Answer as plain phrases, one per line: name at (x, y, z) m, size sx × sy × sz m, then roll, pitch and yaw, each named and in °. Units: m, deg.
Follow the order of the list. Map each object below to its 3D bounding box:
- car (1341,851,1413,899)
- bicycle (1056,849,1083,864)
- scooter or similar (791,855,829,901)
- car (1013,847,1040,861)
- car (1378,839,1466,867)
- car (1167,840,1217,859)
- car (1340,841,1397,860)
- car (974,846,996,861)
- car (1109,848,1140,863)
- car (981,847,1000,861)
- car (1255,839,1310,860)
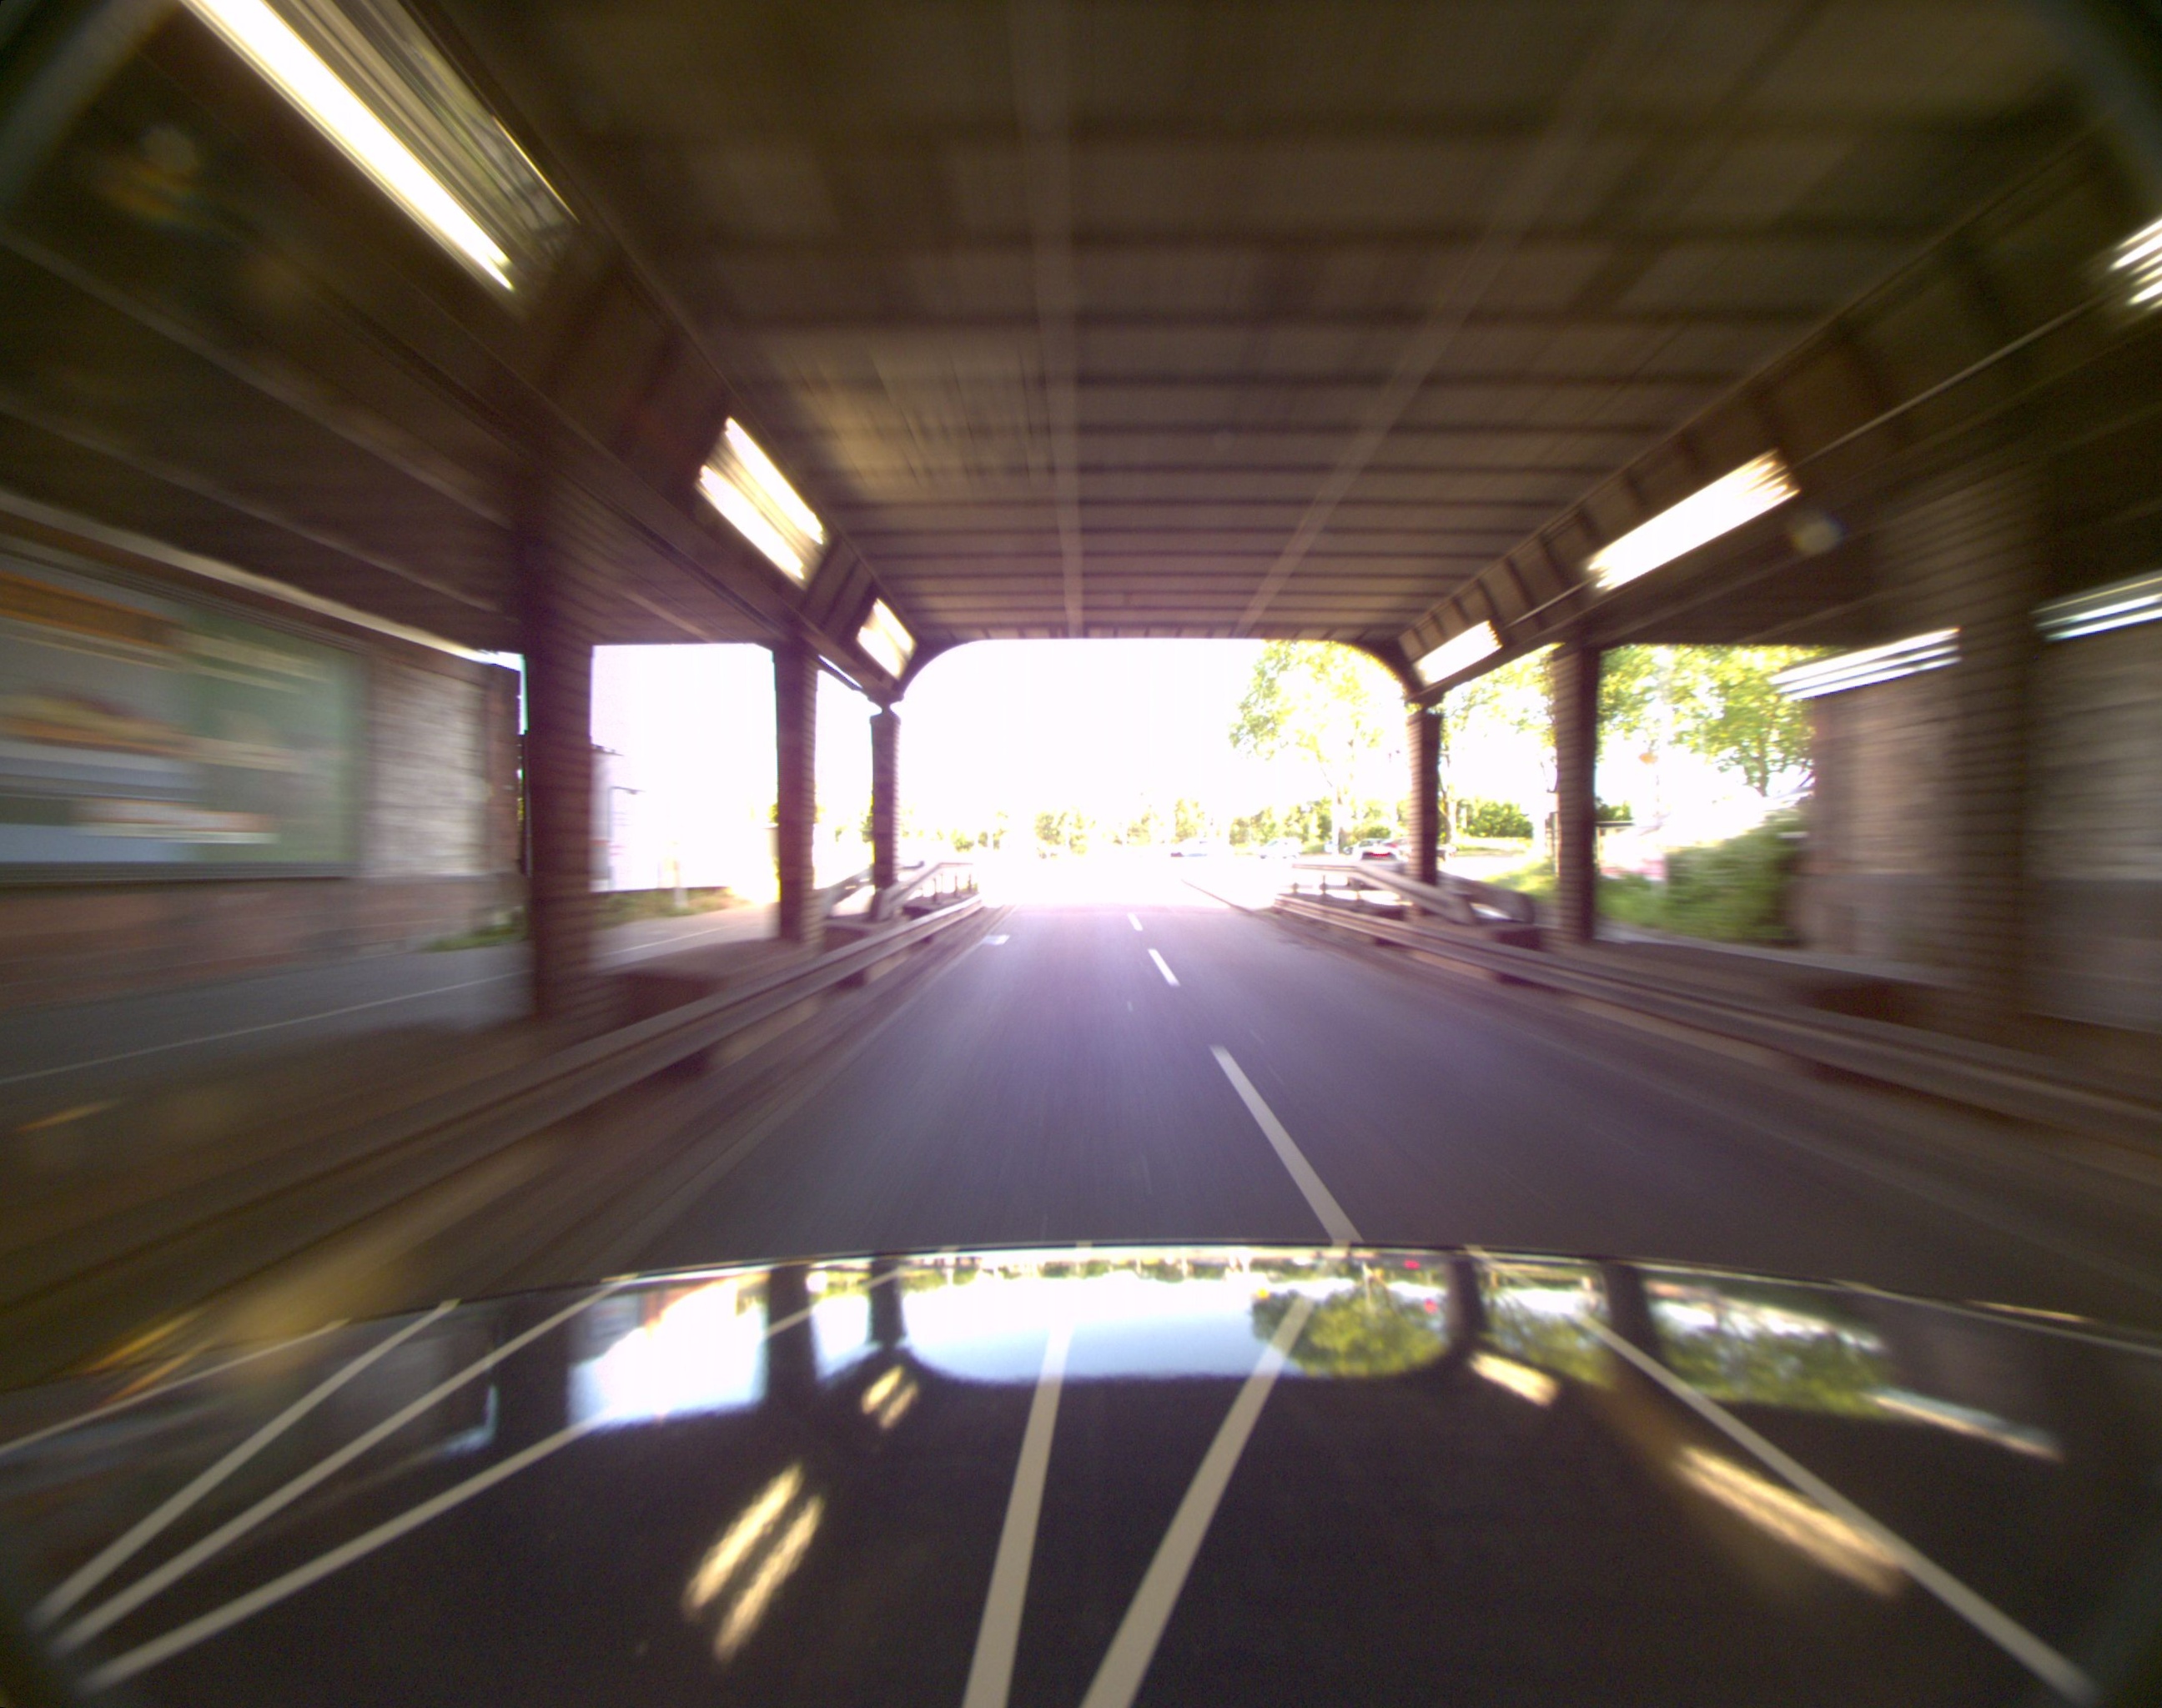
car at (10.714, 0.694, 27.834) m, size 1.953 × 1.509 × 4.391 m, roll 1°, pitch 1°, yaw 15°
bicycle at (-1.274, 0.256, 82.867) m, size 2.947 × 1.607 × 0.908 m, roll 0°, pitch 1°, yaw 34°
scooter or similar at (-7.442, 0.642, 20.941) m, size 0.538 × 1.190 × 1.291 m, roll -1°, pitch 1°, yaw 1°
car at (-7.019, -0.053, 97.882) m, size 2.180 × 1.720 × 4.483 m, roll -1°, pitch 1°, yaw -22°
car at (21.909, -0.061, 48.975) m, size 4.748 × 1.705 × 2.048 m, roll -1°, pitch 1°, yaw -1°
car at (10.156, -0.377, 69.857) m, size 4.263 × 1.733 × 1.859 m, roll 0°, pitch 0°, yaw -1°
car at (22.752, -0.277, 60.124) m, size 3.940 × 1.419 × 1.905 m, roll -1°, pitch 1°, yaw -18°
car at (-10.088, -0.056, 79.783) m, size 1.890 × 1.502 × 4.272 m, roll -1°, pitch 1°, yaw -2°
car at (4.871, 0.132, 85.687) m, size 2.016 × 1.656 × 3.843 m, roll -1°, pitch 1°, yaw -23°
car at (-11.402, -0.015, 95.976) m, size 1.986 × 1.798 × 4.201 m, roll -1°, pitch 1°, yaw -2°
car at (16.365, -0.405, 61.662) m, size 4.127 × 1.626 × 1.916 m, roll -1°, pitch 1°, yaw -29°
